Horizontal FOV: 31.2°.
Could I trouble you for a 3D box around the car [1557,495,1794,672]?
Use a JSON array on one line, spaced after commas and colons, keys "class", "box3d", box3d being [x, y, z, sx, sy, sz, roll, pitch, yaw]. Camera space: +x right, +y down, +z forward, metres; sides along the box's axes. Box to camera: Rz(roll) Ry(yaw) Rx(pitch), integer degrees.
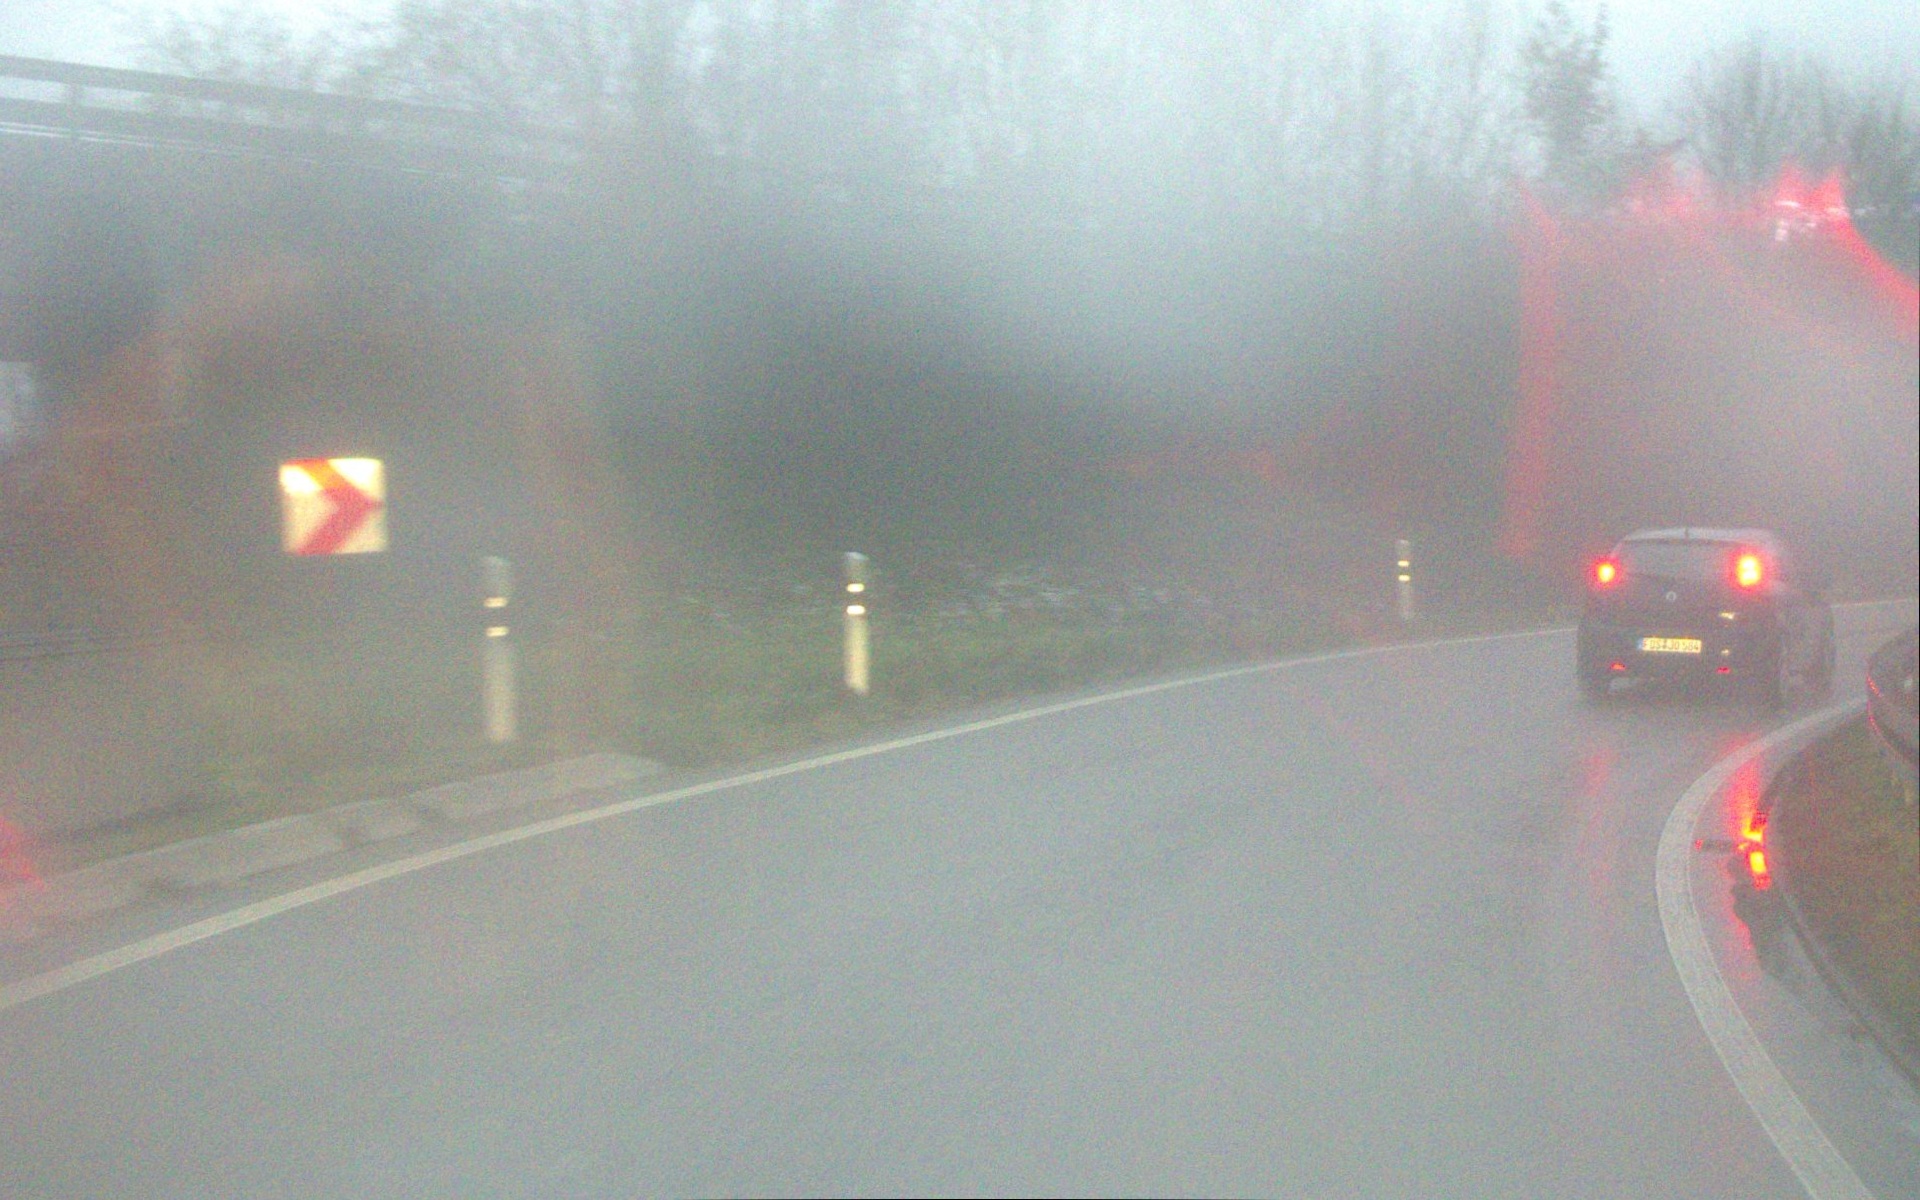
[{"class": "car", "box3d": [6.281, -0.184, 29.910, 1.733, 1.424, 3.763, 0, 2, 16]}]
